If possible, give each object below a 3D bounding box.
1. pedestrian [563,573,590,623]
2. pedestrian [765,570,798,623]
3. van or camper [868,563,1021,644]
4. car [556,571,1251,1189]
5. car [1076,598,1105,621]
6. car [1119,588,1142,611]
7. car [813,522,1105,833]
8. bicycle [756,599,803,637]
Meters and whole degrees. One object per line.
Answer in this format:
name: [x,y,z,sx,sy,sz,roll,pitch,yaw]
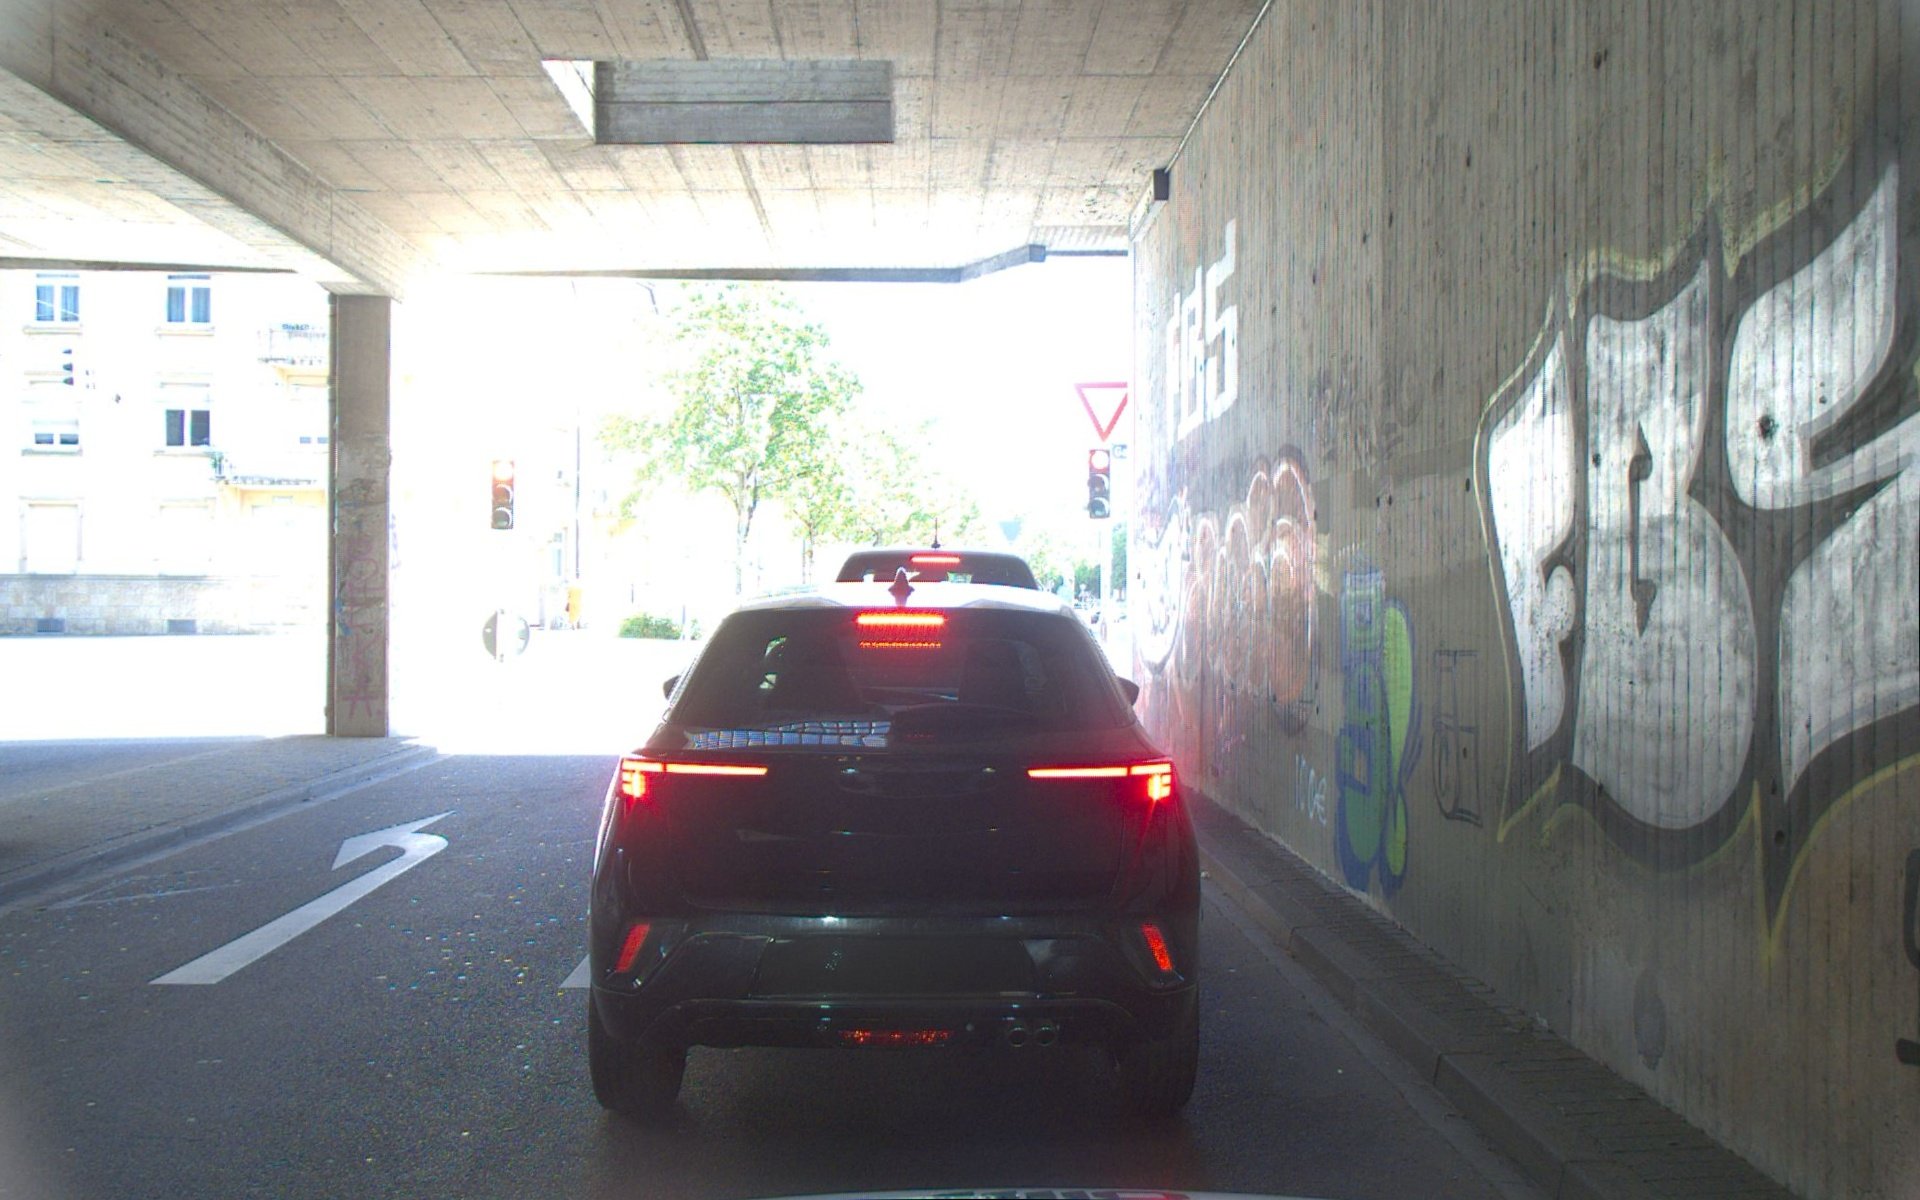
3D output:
pedestrian: [-13.336,-0.075,57.551,0.609,1.734,0.724,1,-1,13]
pedestrian: [-5.546,-0.095,51.327,0.720,1.612,0.891,1,-1,15]
van or camper: [-0.376,0.087,43.437,3.795,2.049,2.002,0,0,7]
car: [-0.154,0.695,6.152,1.718,1.525,4.000,1,0,-1]
car: [8.517,0.621,107.960,1.564,1.477,3.798,0,0,9]
car: [12.953,-0.040,125.705,1.550,1.668,3.809,0,0,9]
car: [-0.027,0.464,12.049,1.749,1.865,3.960,1,0,-1]
bicycle: [-5.573,0.551,51.241,0.721,1.150,2.027,0,0,16]
